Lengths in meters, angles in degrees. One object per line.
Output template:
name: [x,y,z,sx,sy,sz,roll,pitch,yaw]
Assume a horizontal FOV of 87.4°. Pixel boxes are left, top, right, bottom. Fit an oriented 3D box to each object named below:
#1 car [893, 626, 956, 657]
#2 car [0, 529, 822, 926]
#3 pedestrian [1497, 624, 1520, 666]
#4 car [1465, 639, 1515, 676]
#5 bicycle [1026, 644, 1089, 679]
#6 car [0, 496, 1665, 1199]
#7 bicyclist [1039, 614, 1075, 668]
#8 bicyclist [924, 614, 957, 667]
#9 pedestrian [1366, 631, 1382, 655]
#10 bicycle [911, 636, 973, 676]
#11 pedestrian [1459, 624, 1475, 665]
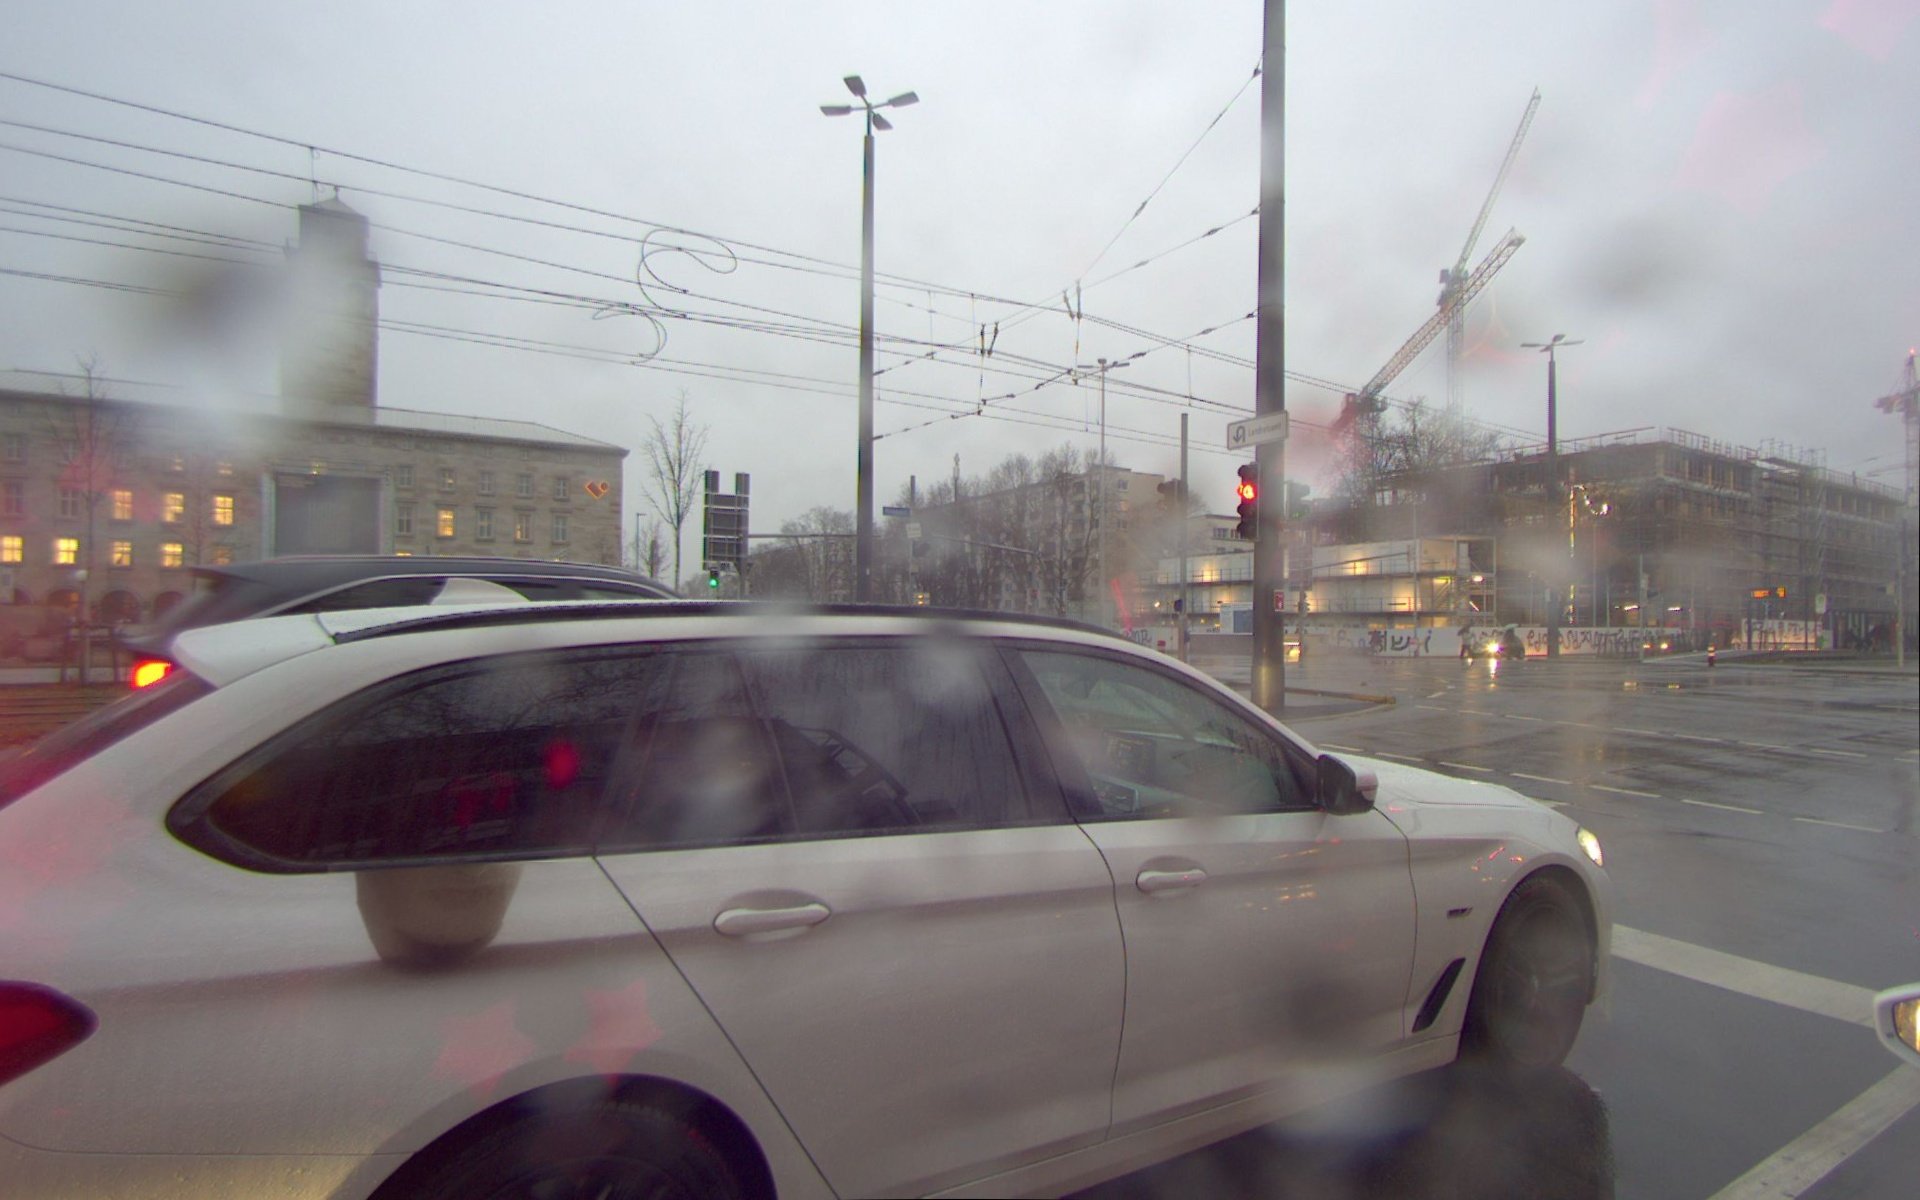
car: [-2.145,2.425,59.329,1.978,1.706,3.965,1,-2,-33]
car: [-3.290,0.626,6.205,4.566,1.766,1.692,2,-2,-35]
pedestrian: [26.892,2.205,49.226,0.741,2.040,0.785,2,-2,-40]
car: [30.999,3.314,58.701,1.736,2.040,3.980,-1,-2,41]
bicycle: [3.117,1.975,32.452,0.612,1.046,2.356,2,-2,-36]
car: [-0.122,0.704,2.998,4.868,1.540,1.900,2,-2,-32]
bicyclist: [3.126,1.330,32.472,0.612,1.719,1.026,2,-2,-36]
bicyclist: [-0.703,1.463,36.333,0.715,1.863,0.986,2,-2,-39]
pedestrian: [26.878,2.792,65.217,0.780,1.549,0.646,1,-2,0]
bicycle: [-0.679,2.006,36.328,0.714,1.380,2.809,2,-3,-38]
pedestrian: [25.335,2.207,50.223,0.635,2.040,0.503,3,-3,-40]
